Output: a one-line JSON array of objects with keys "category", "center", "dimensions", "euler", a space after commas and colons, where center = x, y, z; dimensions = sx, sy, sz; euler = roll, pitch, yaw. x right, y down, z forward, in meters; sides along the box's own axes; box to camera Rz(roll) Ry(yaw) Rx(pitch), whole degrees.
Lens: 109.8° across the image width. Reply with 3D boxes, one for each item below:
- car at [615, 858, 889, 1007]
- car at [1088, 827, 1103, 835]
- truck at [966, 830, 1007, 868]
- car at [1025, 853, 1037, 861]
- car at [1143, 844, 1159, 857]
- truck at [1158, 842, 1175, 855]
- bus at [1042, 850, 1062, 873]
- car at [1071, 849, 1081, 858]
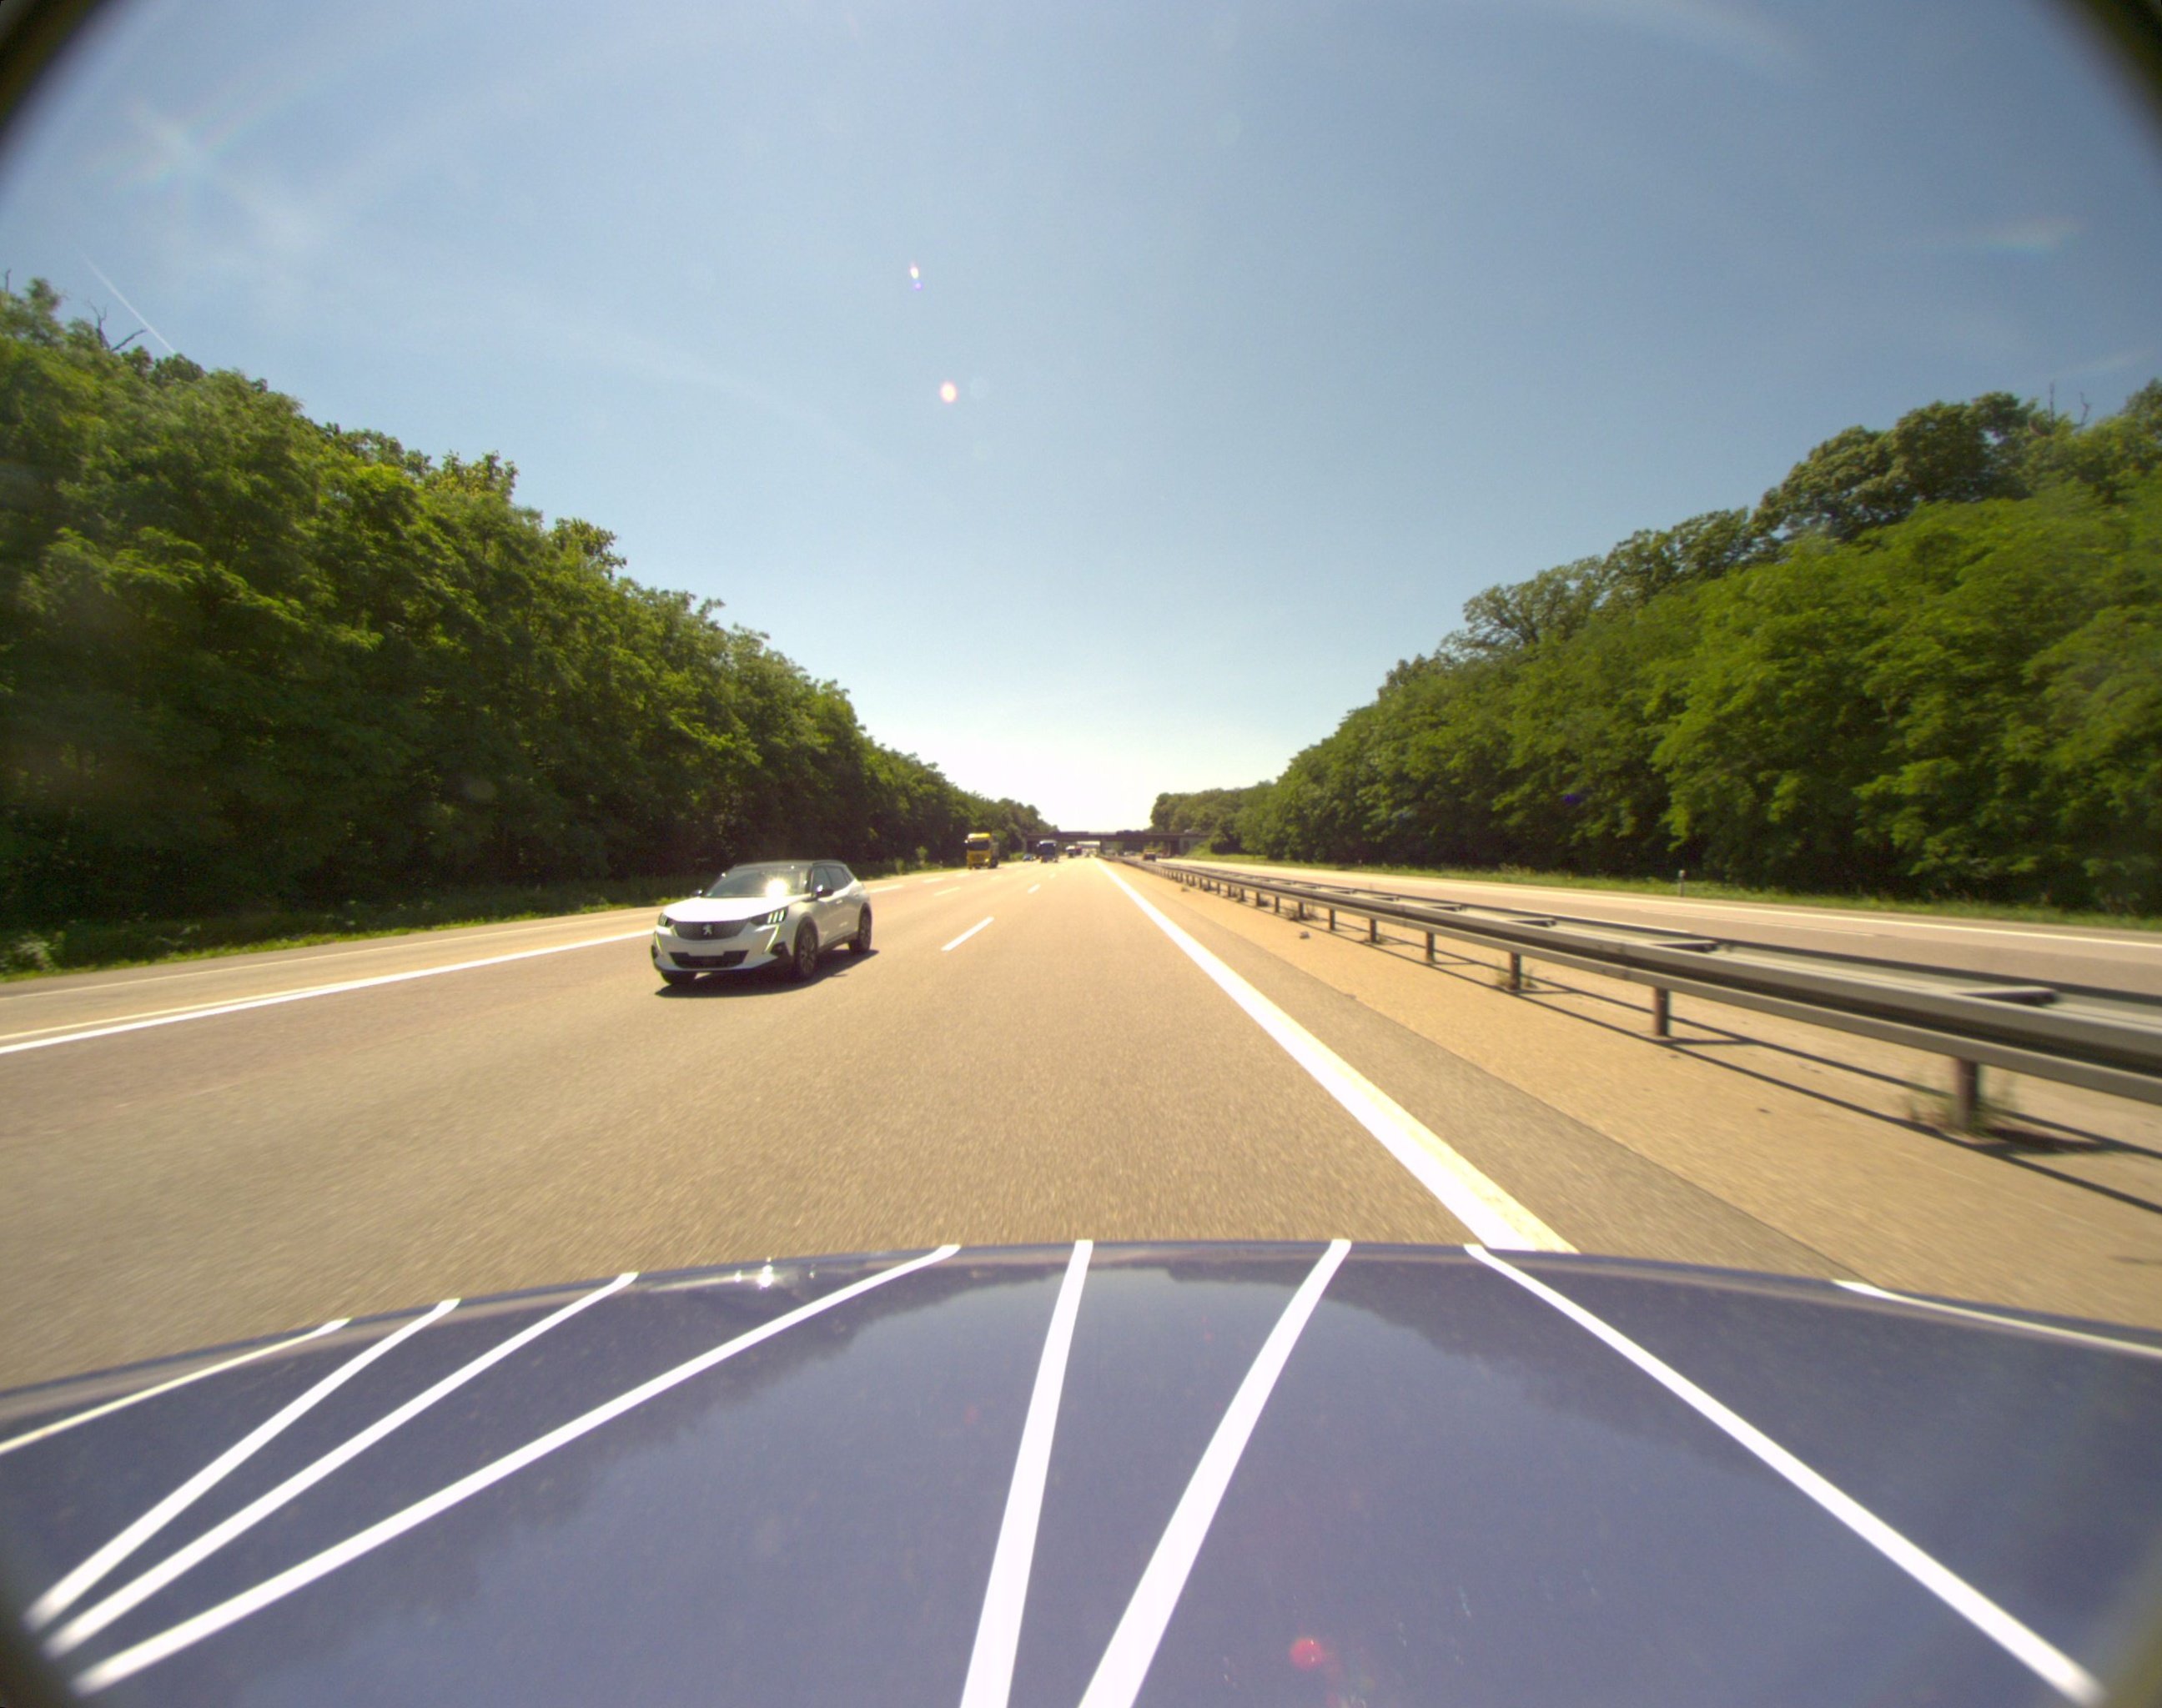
[{"category": "car", "center": [-4.371, 0.911, 11.098], "dimensions": [1.832, 1.599, 4.808], "euler": [-1, 1, 0]}, {"category": "car", "center": [4.133, -6.477, 213.540], "dimensions": [3.998, 2.002, 1.999], "euler": [-2, 1, -3]}, {"category": "truck", "center": [-10.920, -0.652, 88.858], "dimensions": [2.982, 4.013, 10.981], "euler": [-3, 1, 2]}, {"category": "car", "center": [-9.942, 0.619, 150.822], "dimensions": [1.875, 1.547, 4.201], "euler": [-2, 1, 1]}, {"category": "car", "center": [10.994, -0.548, 119.953], "dimensions": [1.998, 1.952, 5.211], "euler": [-2, 1, 1]}, {"category": "truck", "center": [20.389, -1.344, 182.468], "dimensions": [2.760, 2.973, 12.854], "euler": [0, 1, 0]}, {"category": "bus", "center": [-4.765, 1.091, 128.538], "dimensions": [2.617, 3.532, 13.681], "euler": [-2, 1, 0]}, {"category": "car", "center": [-1.357, -0.112, 212.376], "dimensions": [2.616, 2.389, 7.122], "euler": [-2, 1, 0]}]
